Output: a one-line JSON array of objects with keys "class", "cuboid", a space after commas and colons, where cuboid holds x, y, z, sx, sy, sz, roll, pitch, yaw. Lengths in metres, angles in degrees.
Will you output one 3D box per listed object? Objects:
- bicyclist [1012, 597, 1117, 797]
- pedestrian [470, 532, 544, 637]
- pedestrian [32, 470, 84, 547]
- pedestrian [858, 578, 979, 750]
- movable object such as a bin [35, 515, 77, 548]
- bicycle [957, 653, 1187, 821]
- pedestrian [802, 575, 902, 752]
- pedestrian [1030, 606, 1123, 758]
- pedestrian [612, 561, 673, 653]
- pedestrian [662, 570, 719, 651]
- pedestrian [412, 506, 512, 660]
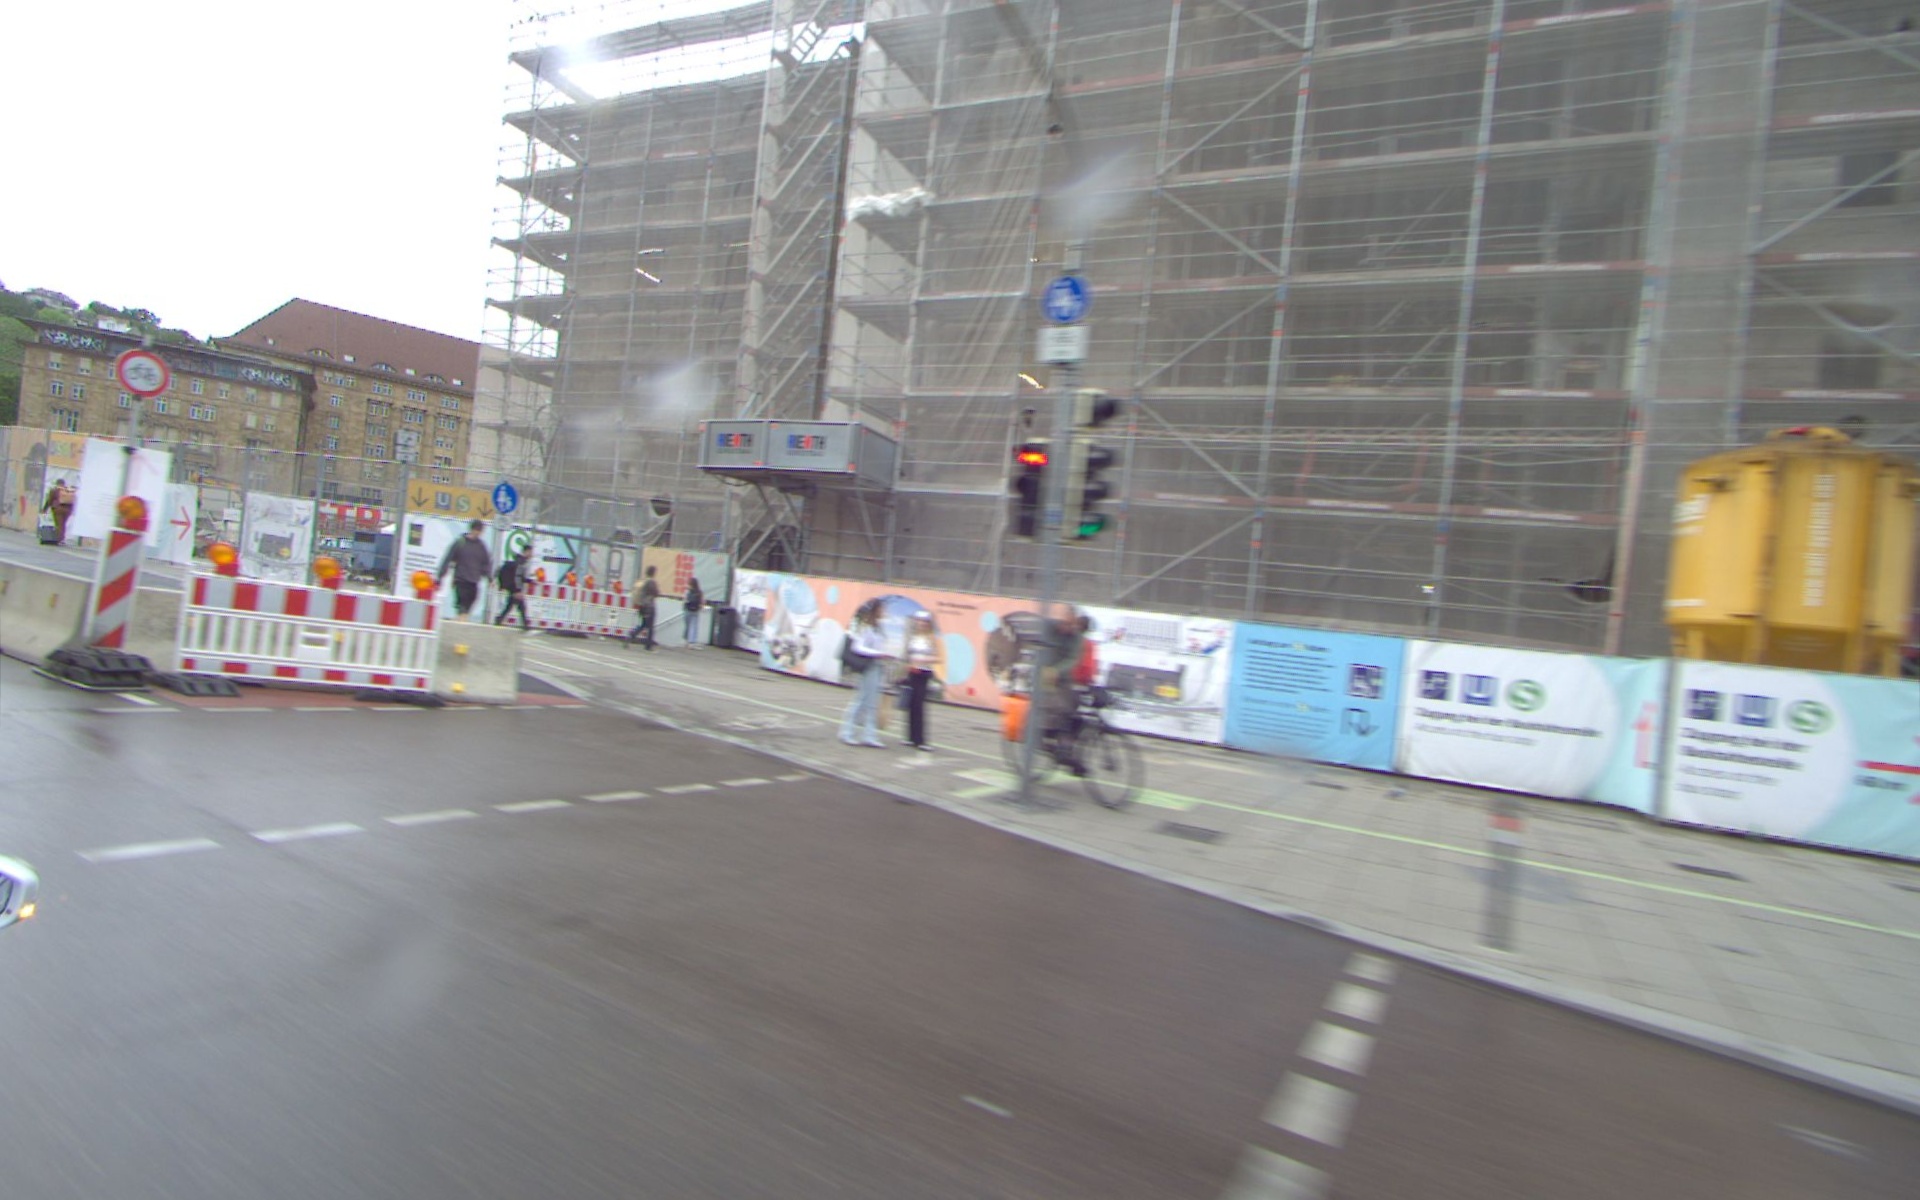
[{"class": "bicyclist", "cuboid": [0.956, 0.878, 9.159, 0.693, 1.726, 0.428, 6, 1, -44]}, {"class": "pedestrian", "cuboid": [-8.644, -0.291, 19.212, 0.986, 1.872, 0.674, 6, 1, -10]}, {"class": "pedestrian", "cuboid": [-24.203, -2.457, 27.010, 0.643, 1.919, 0.767, 7, 1, 33]}, {"class": "pedestrian", "cuboid": [-0.462, 0.705, 11.285, 0.867, 1.778, 0.814, 7, 1, 33]}, {"class": "movable object such as a bin", "cuboid": [-24.012, -1.816, 26.716, 0.765, 0.743, 0.597, 7, 0, 32]}, {"class": "bicycle", "cuboid": [0.962, 1.185, 9.133, 0.751, 1.148, 1.968, 6, 0, -43]}, {"class": "pedestrian", "cuboid": [-1.140, 0.649, 10.773, 0.789, 1.779, 0.815, 4, 2, 8]}, {"class": "pedestrian", "cuboid": [1.461, 1.009, 12.538, 0.731, 1.749, 0.712, 7, 1, 33]}, {"class": "pedestrian", "cuboid": [-6.507, 0.150, 20.607, 0.638, 1.778, 0.815, 7, 1, 27]}, {"class": "pedestrian", "cuboid": [-6.367, 0.253, 23.778, 0.792, 1.778, 0.814, 7, 1, 33]}, {"class": "pedestrian", "cuboid": [-7.073, -0.231, 14.287, 0.852, 2.038, 0.786, 10, 3, 37]}]
